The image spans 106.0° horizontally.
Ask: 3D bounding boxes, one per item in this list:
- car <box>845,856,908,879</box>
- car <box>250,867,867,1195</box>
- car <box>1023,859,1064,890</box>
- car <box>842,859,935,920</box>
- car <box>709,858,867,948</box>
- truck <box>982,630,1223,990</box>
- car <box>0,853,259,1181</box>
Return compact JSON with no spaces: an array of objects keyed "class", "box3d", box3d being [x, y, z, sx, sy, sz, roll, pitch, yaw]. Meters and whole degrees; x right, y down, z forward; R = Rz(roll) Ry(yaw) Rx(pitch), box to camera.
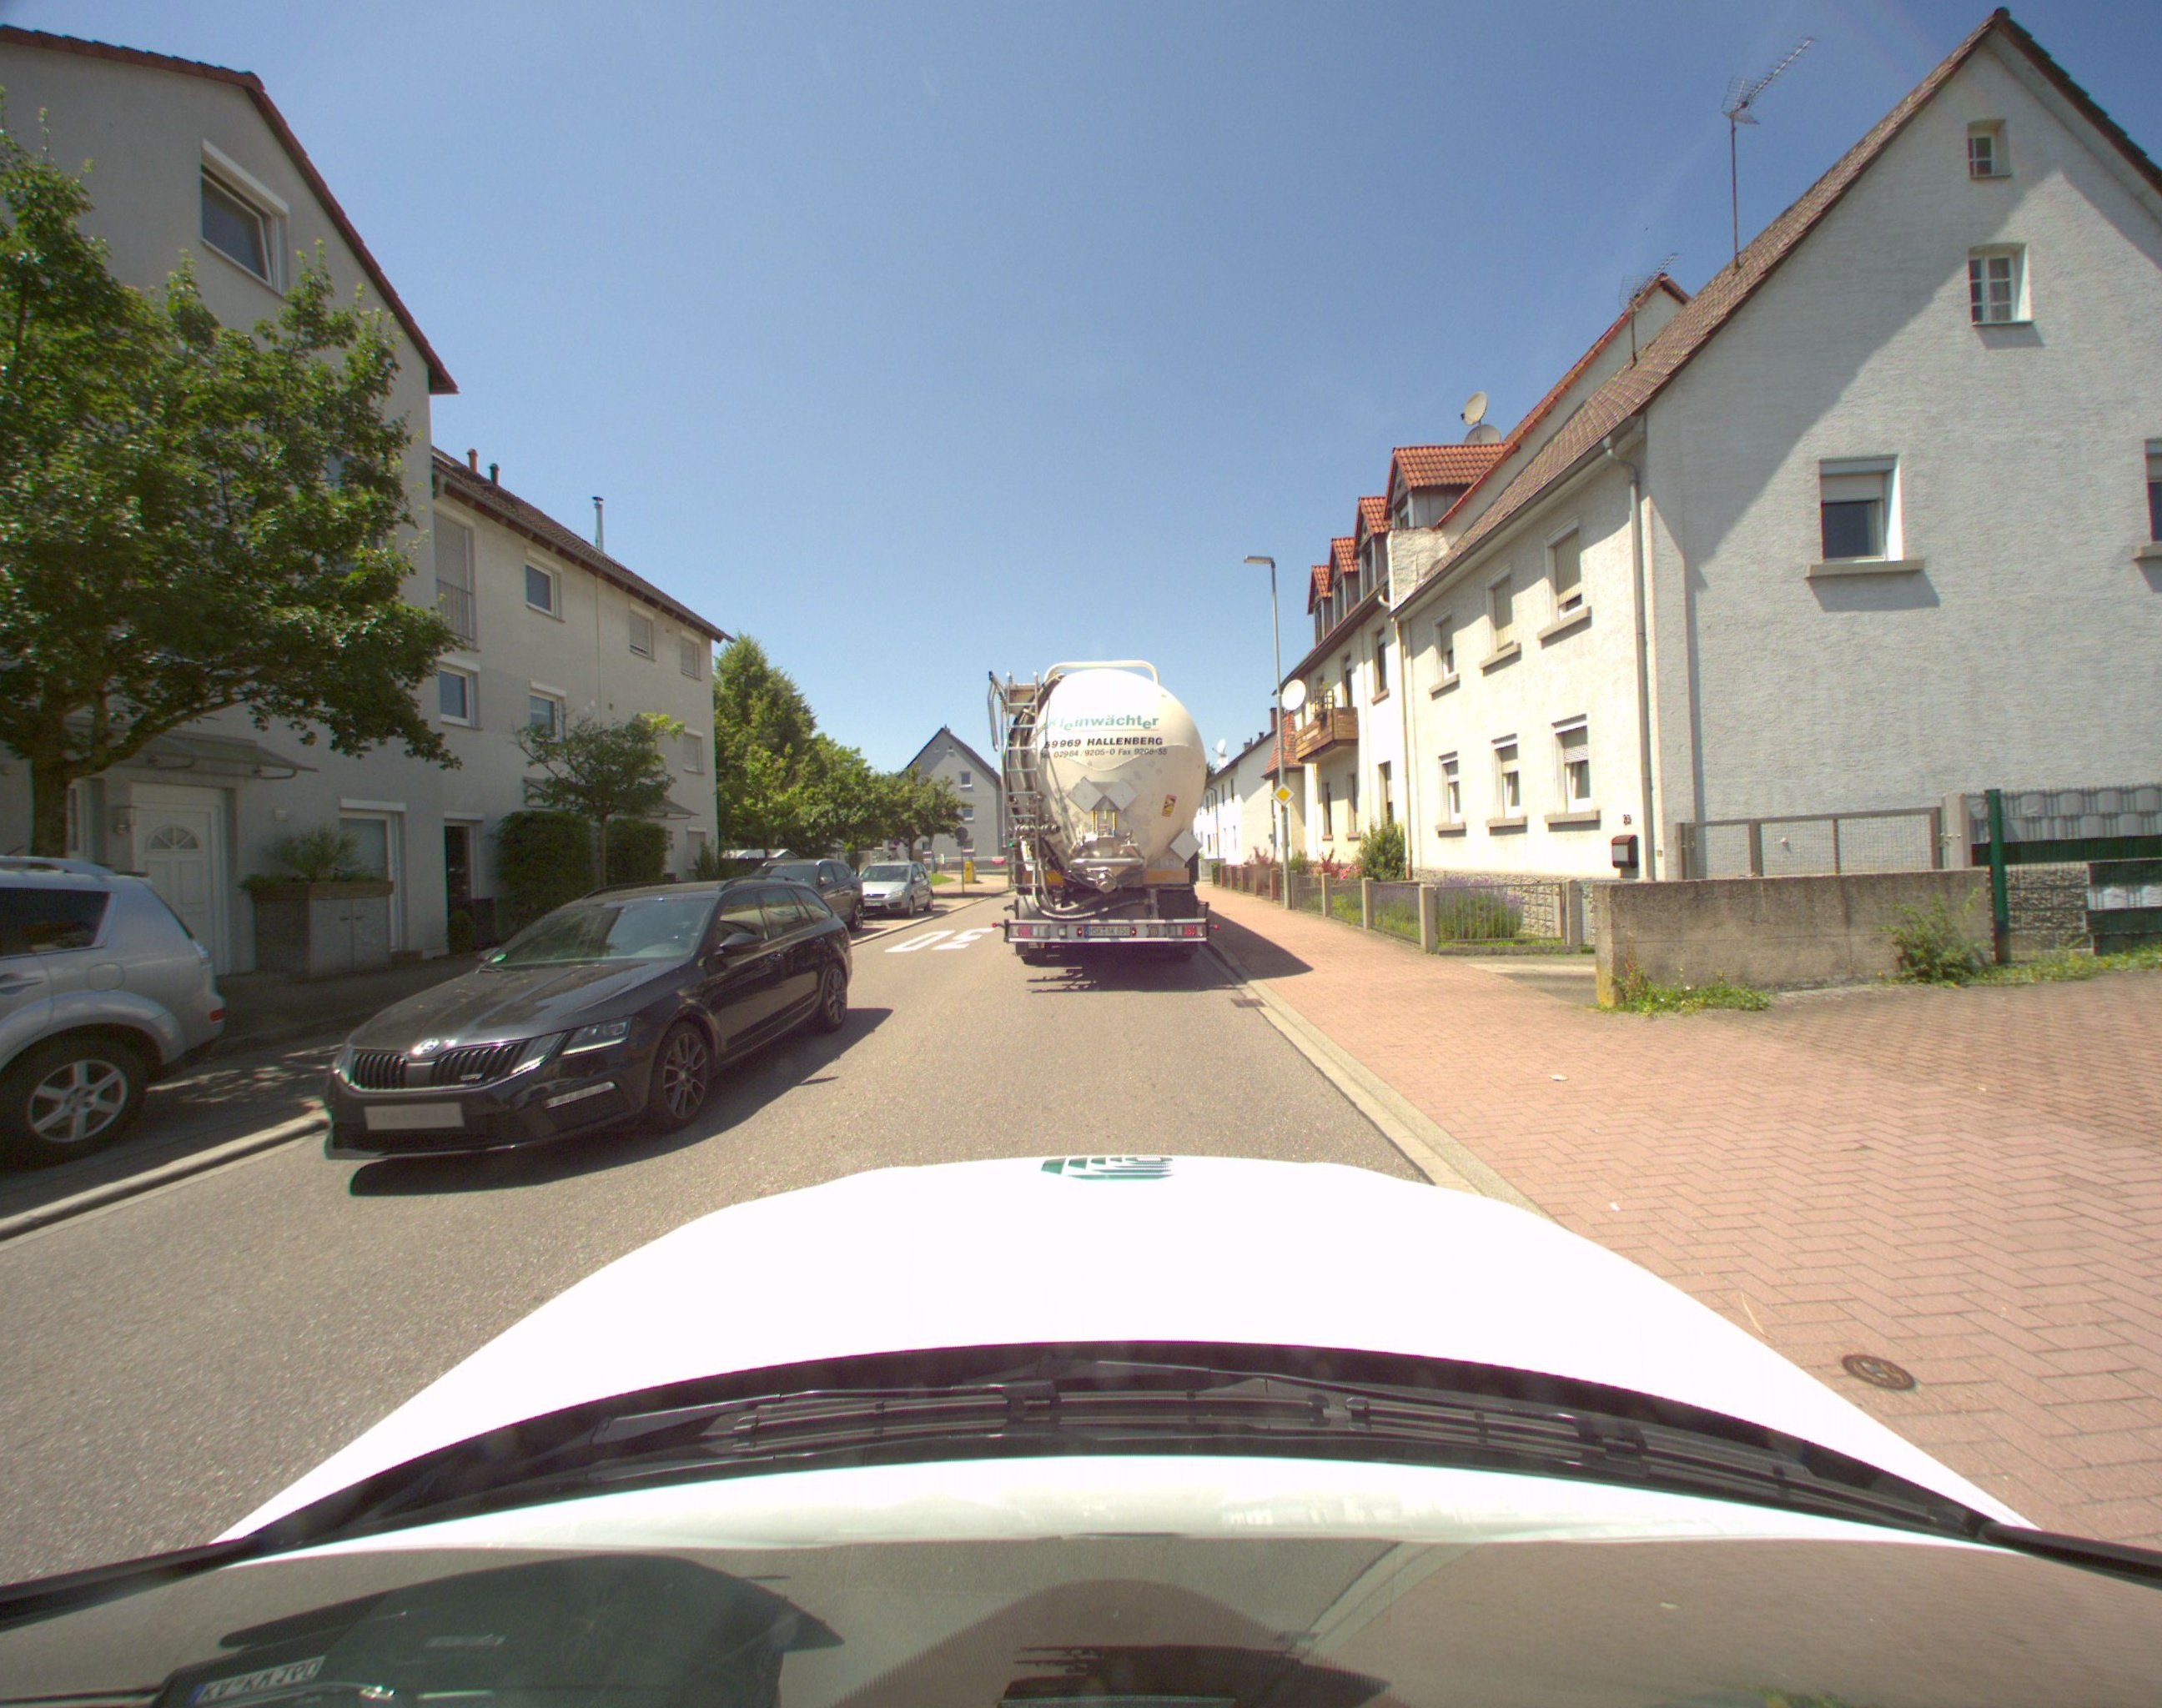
[{"class":"car","box3d":[-16.437,1.094,65.531,4.597,1.651,1.745,-2,0,10]},{"class":"car","box3d":[-3.138,0.910,6.137,1.712,1.446,4.257,-3,0,2]},{"class":"car","box3d":[-1.932,1.023,42.692,1.778,1.456,4.259,-3,0,1]},{"class":"car","box3d":[-5.494,0.958,23.722,1.691,1.581,3.838,-1,0,1]},{"class":"car","box3d":[-5.924,0.910,16.993,1.685,1.620,3.999,-1,0,2]},{"class":"truck","box3d":[0.414,-0.487,13.975,2.631,4.016,9.565,-1,0,2]},{"class":"car","box3d":[-6.434,0.852,3.227,1.700,1.686,4.526,-1,0,1]}]
